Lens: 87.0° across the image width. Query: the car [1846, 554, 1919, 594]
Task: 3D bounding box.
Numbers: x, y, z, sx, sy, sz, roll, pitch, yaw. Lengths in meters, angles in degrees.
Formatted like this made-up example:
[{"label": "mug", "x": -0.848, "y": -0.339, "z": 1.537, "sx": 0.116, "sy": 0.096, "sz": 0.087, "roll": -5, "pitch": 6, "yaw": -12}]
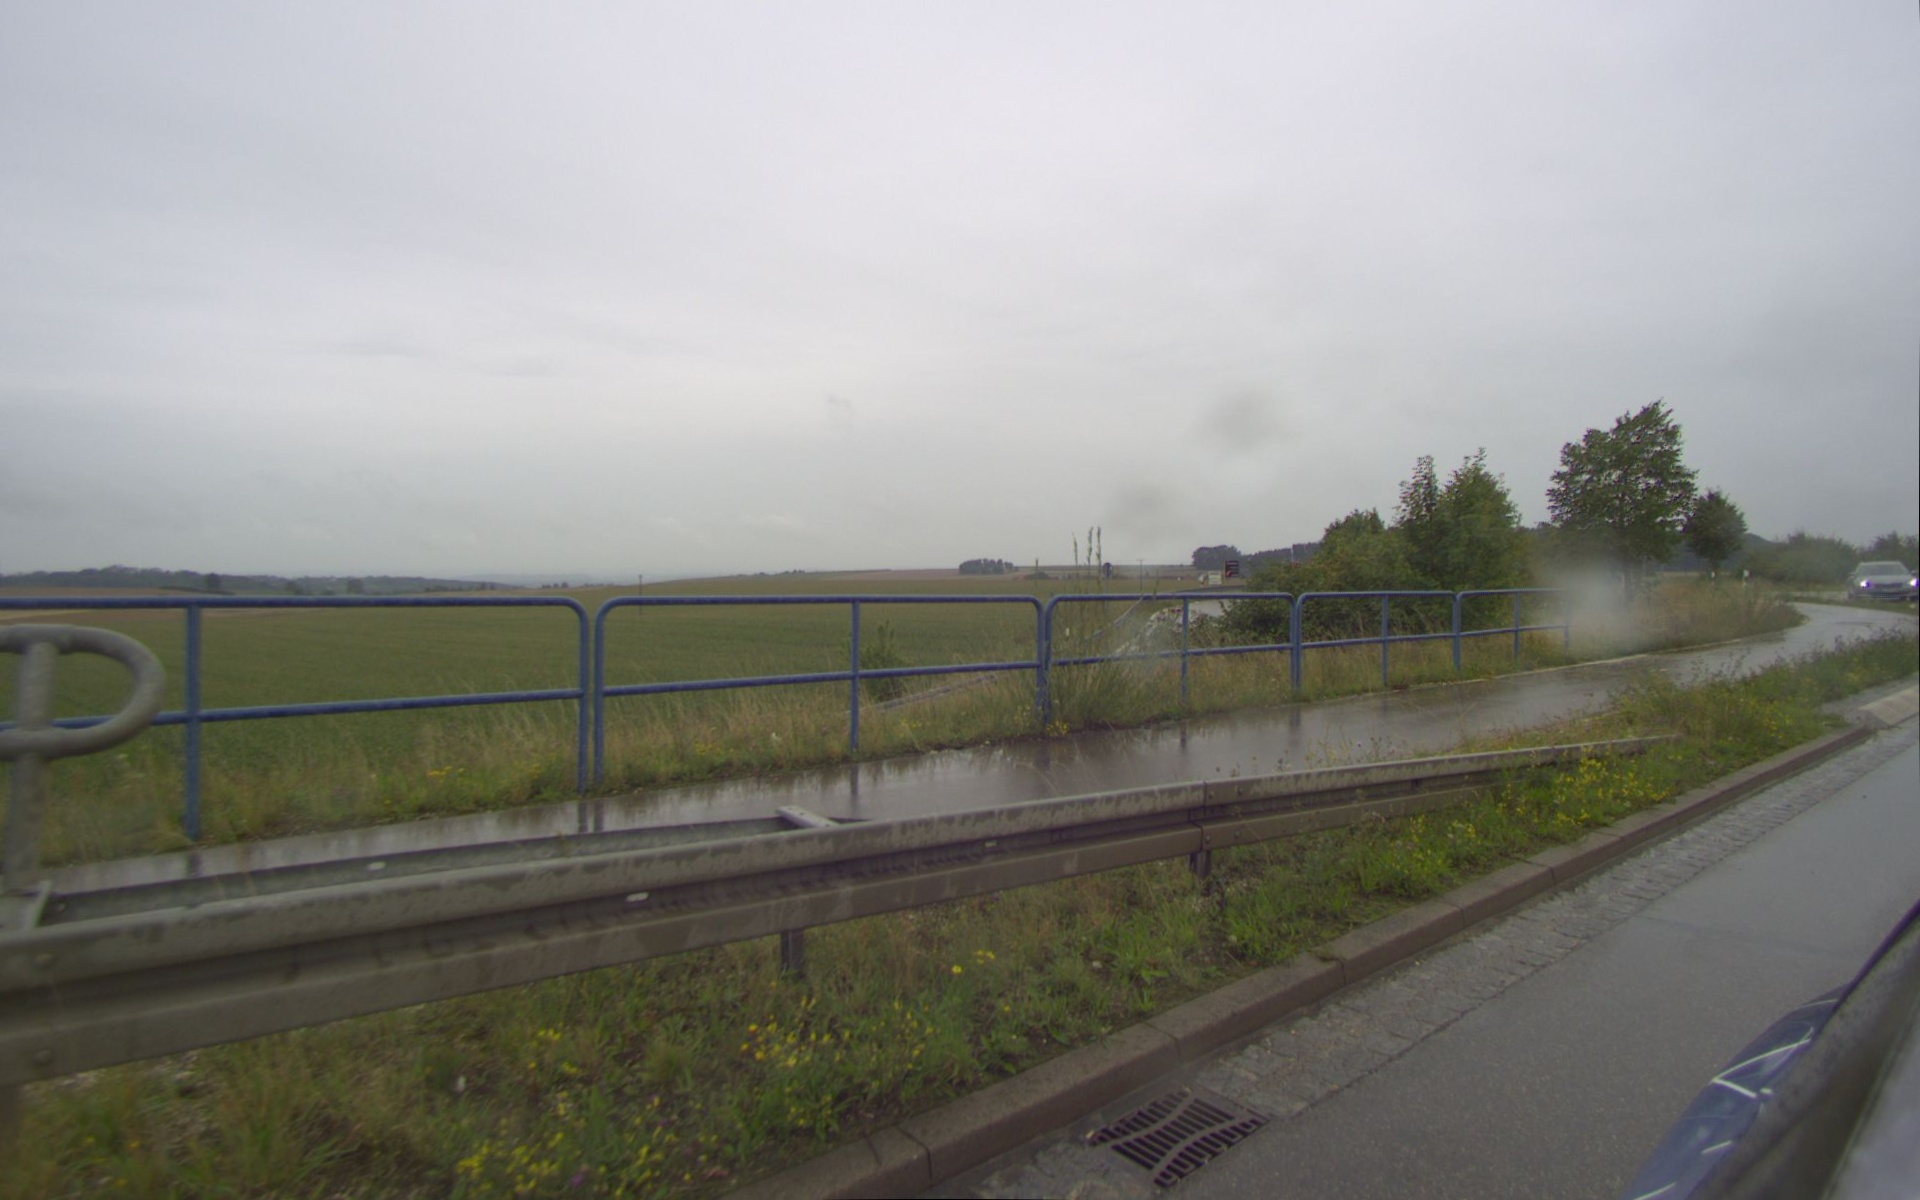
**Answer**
[{"label": "car", "x": 35.623, "y": -0.990, "z": 38.773, "sx": 1.751, "sy": 1.438, "sz": 4.453, "roll": 2, "pitch": 2, "yaw": 31}]
